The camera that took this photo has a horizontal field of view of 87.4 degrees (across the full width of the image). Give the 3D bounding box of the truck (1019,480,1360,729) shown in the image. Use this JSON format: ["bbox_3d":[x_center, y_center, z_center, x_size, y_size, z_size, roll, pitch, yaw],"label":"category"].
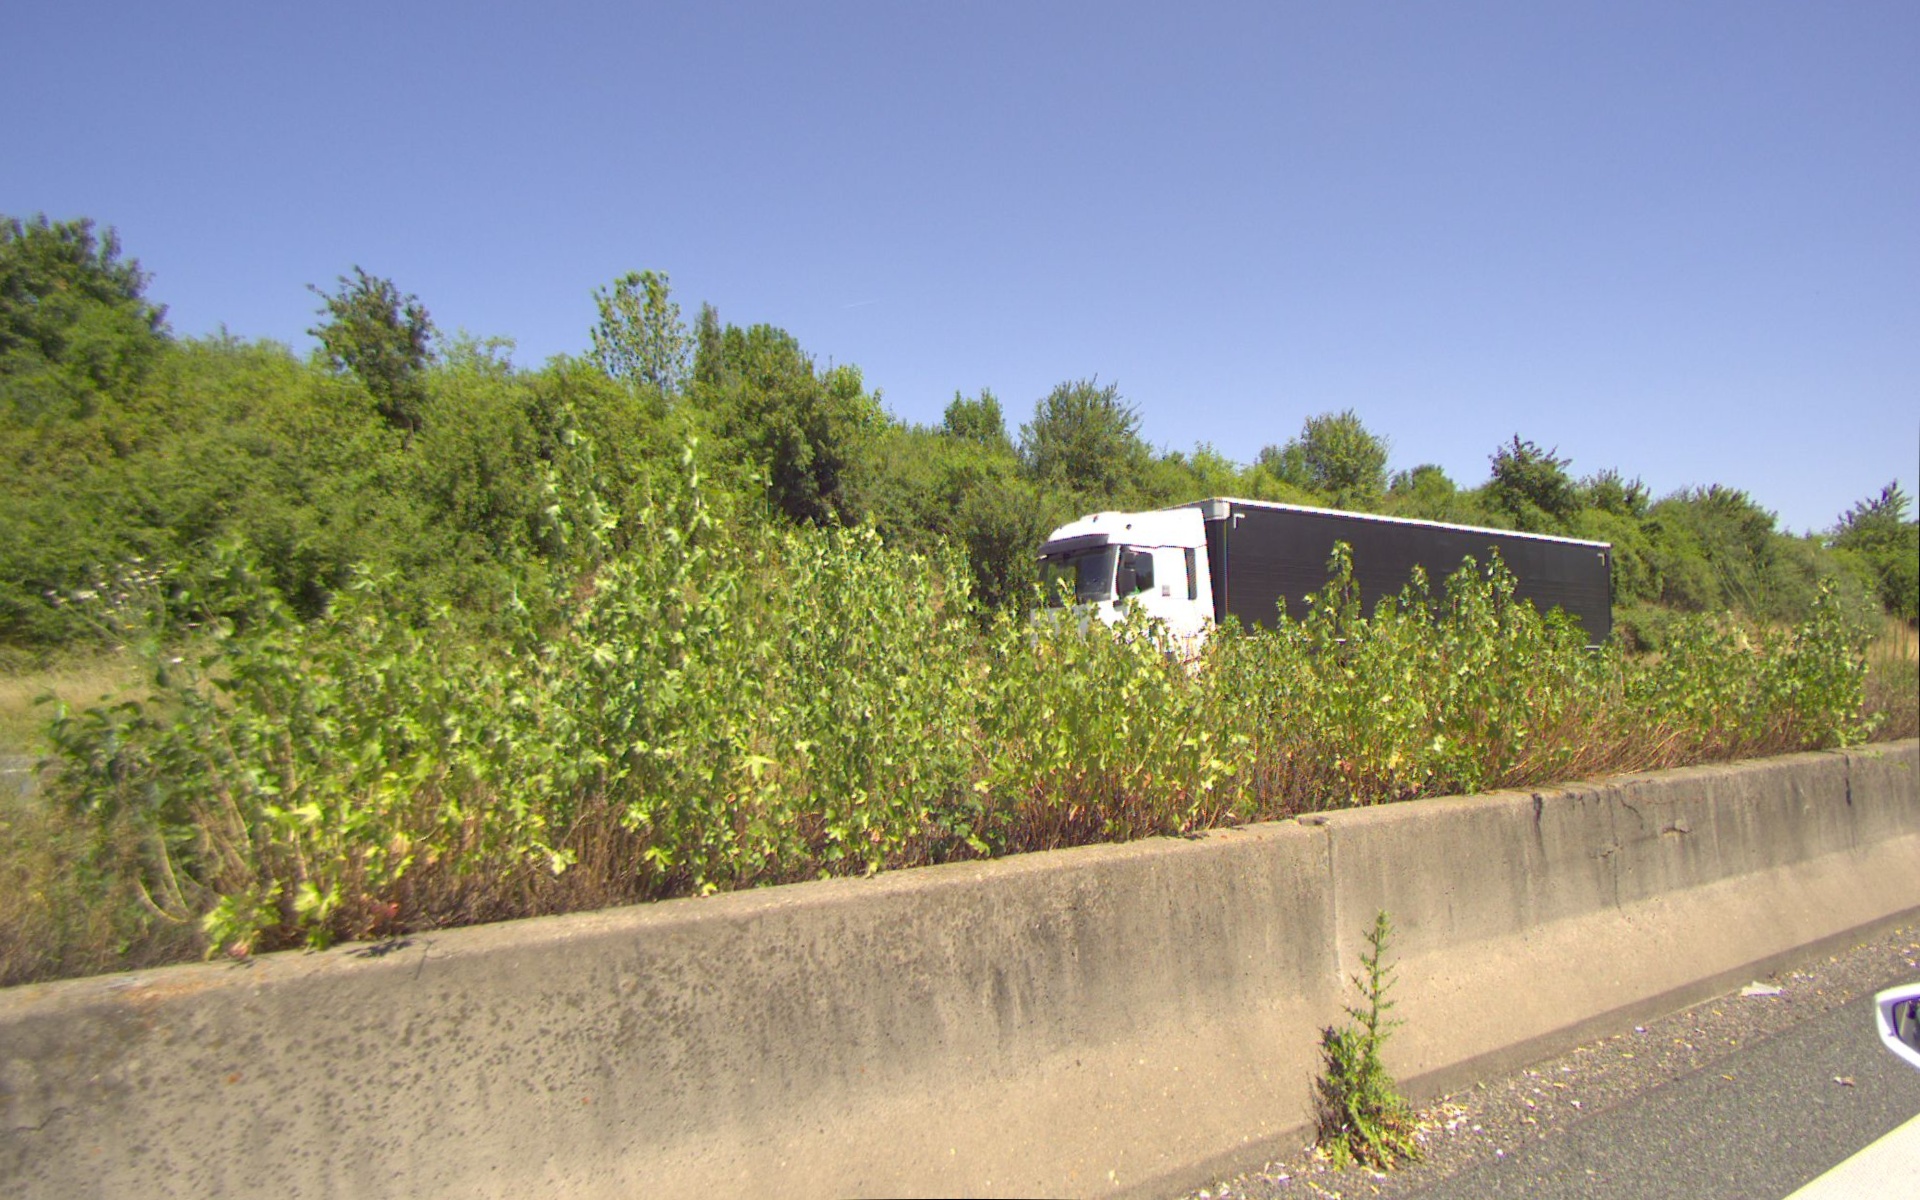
[{"bbox_3d":[4.559,0.224,19.764,6.335,4.220,2.739,1,-4,-30],"label":"truck"}]

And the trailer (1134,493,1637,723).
[{"bbox_3d":[10.368,0.381,23.150,14.030,4.220,2.741,1,-4,-30],"label":"trailer"}]
